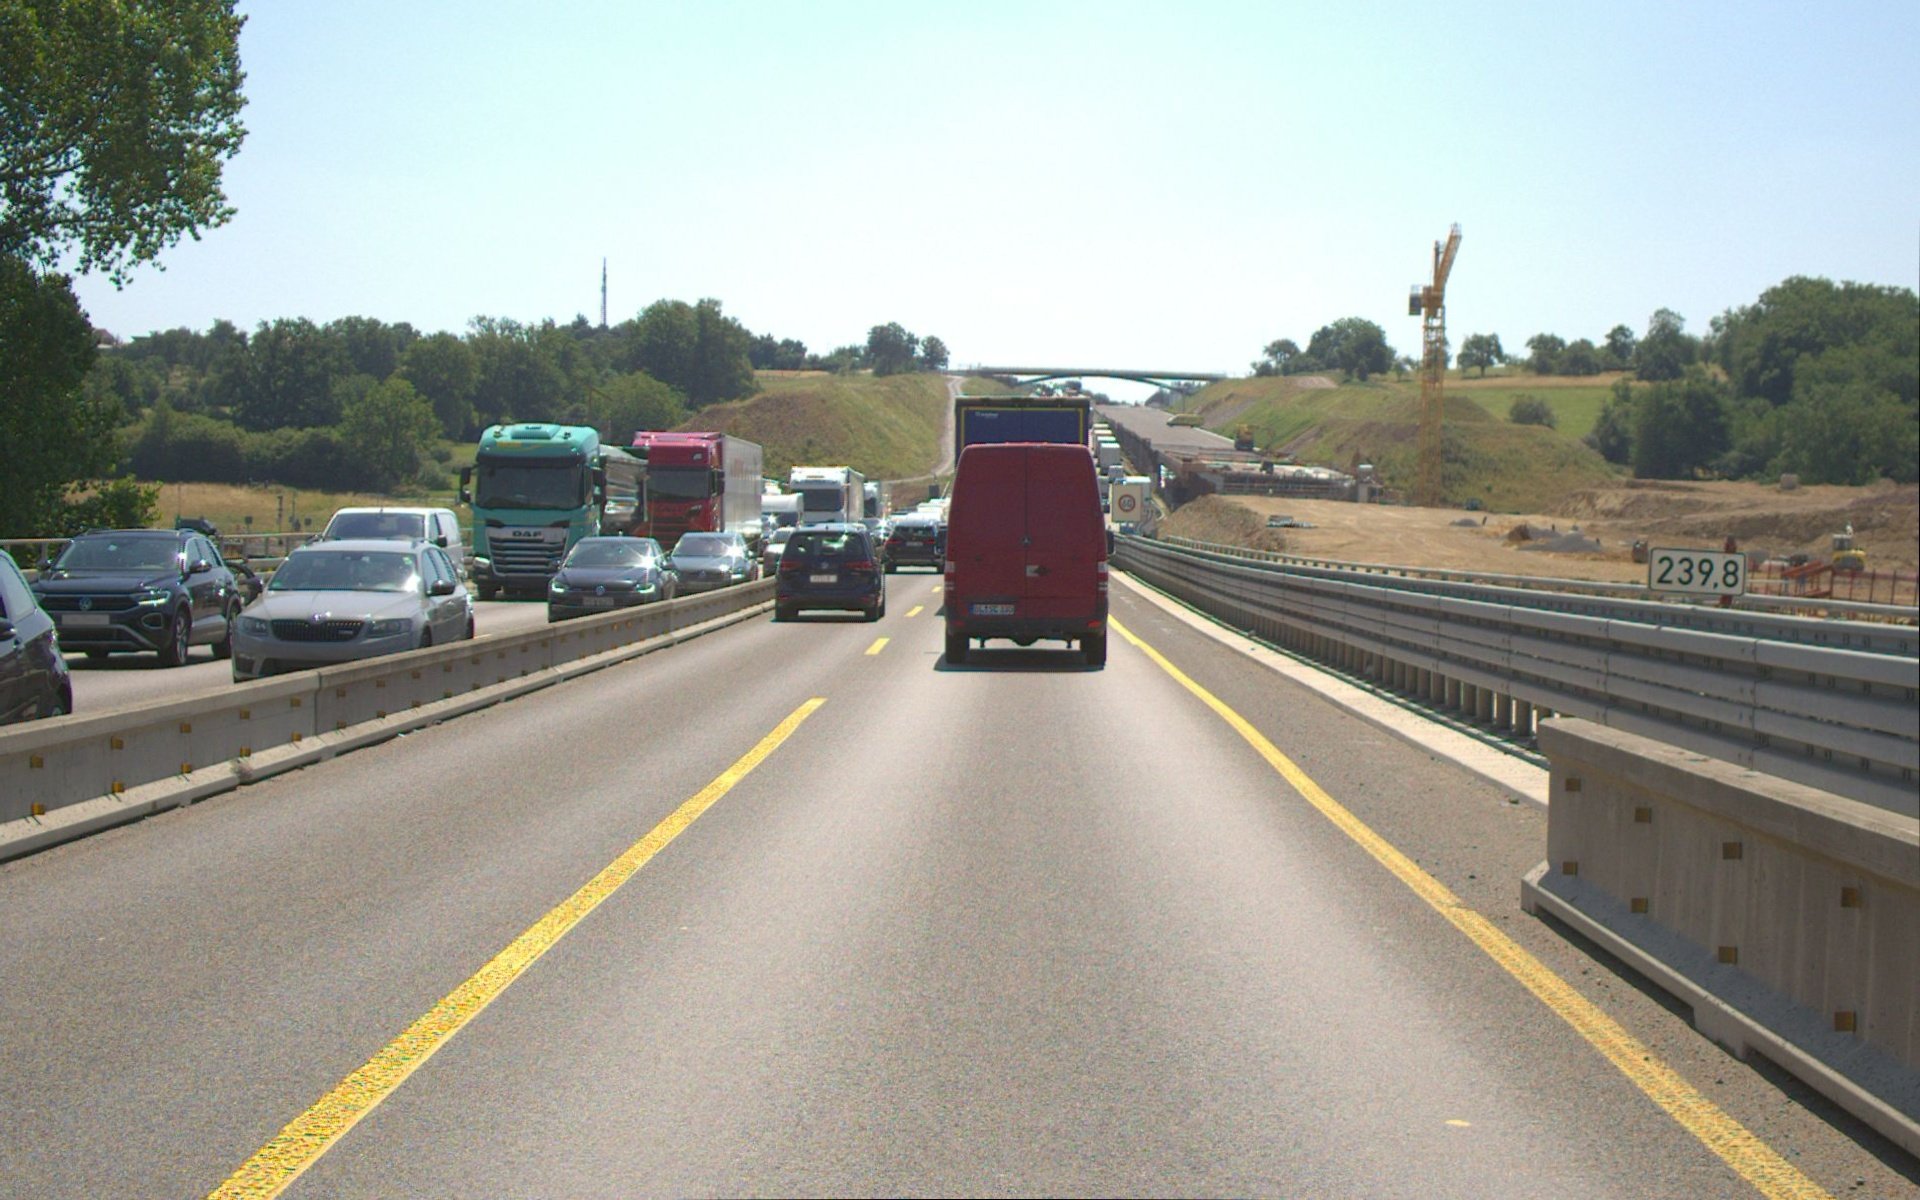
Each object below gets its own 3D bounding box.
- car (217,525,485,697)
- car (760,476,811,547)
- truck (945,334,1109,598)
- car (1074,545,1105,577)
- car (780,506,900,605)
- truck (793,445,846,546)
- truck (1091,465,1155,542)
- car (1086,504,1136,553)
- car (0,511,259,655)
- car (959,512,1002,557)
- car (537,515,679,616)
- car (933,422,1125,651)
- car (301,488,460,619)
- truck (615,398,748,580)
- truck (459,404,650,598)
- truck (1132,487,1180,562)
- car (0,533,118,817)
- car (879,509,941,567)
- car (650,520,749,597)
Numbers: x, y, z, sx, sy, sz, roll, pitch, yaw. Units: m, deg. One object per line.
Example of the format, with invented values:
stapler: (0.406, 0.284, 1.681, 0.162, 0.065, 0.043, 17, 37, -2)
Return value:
car: (-5.773, 0.060, 33.021, 1.820, 1.491, 4.134, 2, 1, 0)
car: (-6.553, -3.309, 129.287, 1.617, 2.593, 3.890, 2, 1, 0)
truck: (1.255, -2.604, 68.495, 2.944, 4.928, 6.742, 1, 1, -1)
car: (7.935, -2.382, 210.485, 1.617, 1.830, 3.890, 2, 0, -1)
car: (-2.071, -0.754, 60.484, 1.734, 1.630, 4.389, 2, 0, 2)
truck: (-6.231, -4.620, 153.446, 1.993, 3.992, 6.481, 1, -3, 0)
truck: (6.905, -4.083, 145.999, 2.291, 3.185, 6.483, 1, 1, 0)
car: (5.540, -2.627, 126.291, 1.617, 1.694, 3.890, 2, 1, 0)
car: (-9.479, -0.237, 39.421, 1.820, 1.491, 5.173, 2, 1, 0)
car: (0.818, -2.585, 135.712, 1.617, 1.694, 3.890, 2, 1, 0)
car: (-5.580, -0.572, 54.966, 1.820, 1.491, 4.134, 2, 1, 0)
car: (0.889, -0.799, 42.837, 2.150, 2.602, 5.438, 2, 1, 2)
car: (-9.343, -0.767, 55.719, 1.993, 2.007, 4.001, 1, 1, -2)
truck: (-8.034, -3.179, 100.626, 2.808, 4.922, 12.135, 2, 1, 0)
truck: (-8.963, -2.173, 77.343, 2.808, 3.950, 12.135, 2, 1, 0)
truck: (10.942, -4.181, 192.105, 2.291, 3.726, 6.481, 1, -3, 1)
car: (-5.954, 0.378, 18.685, 1.725, 1.491, 4.134, 2, 1, 0)
car: (-1.501, -1.892, 104.669, 1.820, 1.691, 4.134, 2, 1, 0)
car: (-5.285, -0.864, 70.139, 1.710, 1.491, 3.601, 2, 1, 0)
